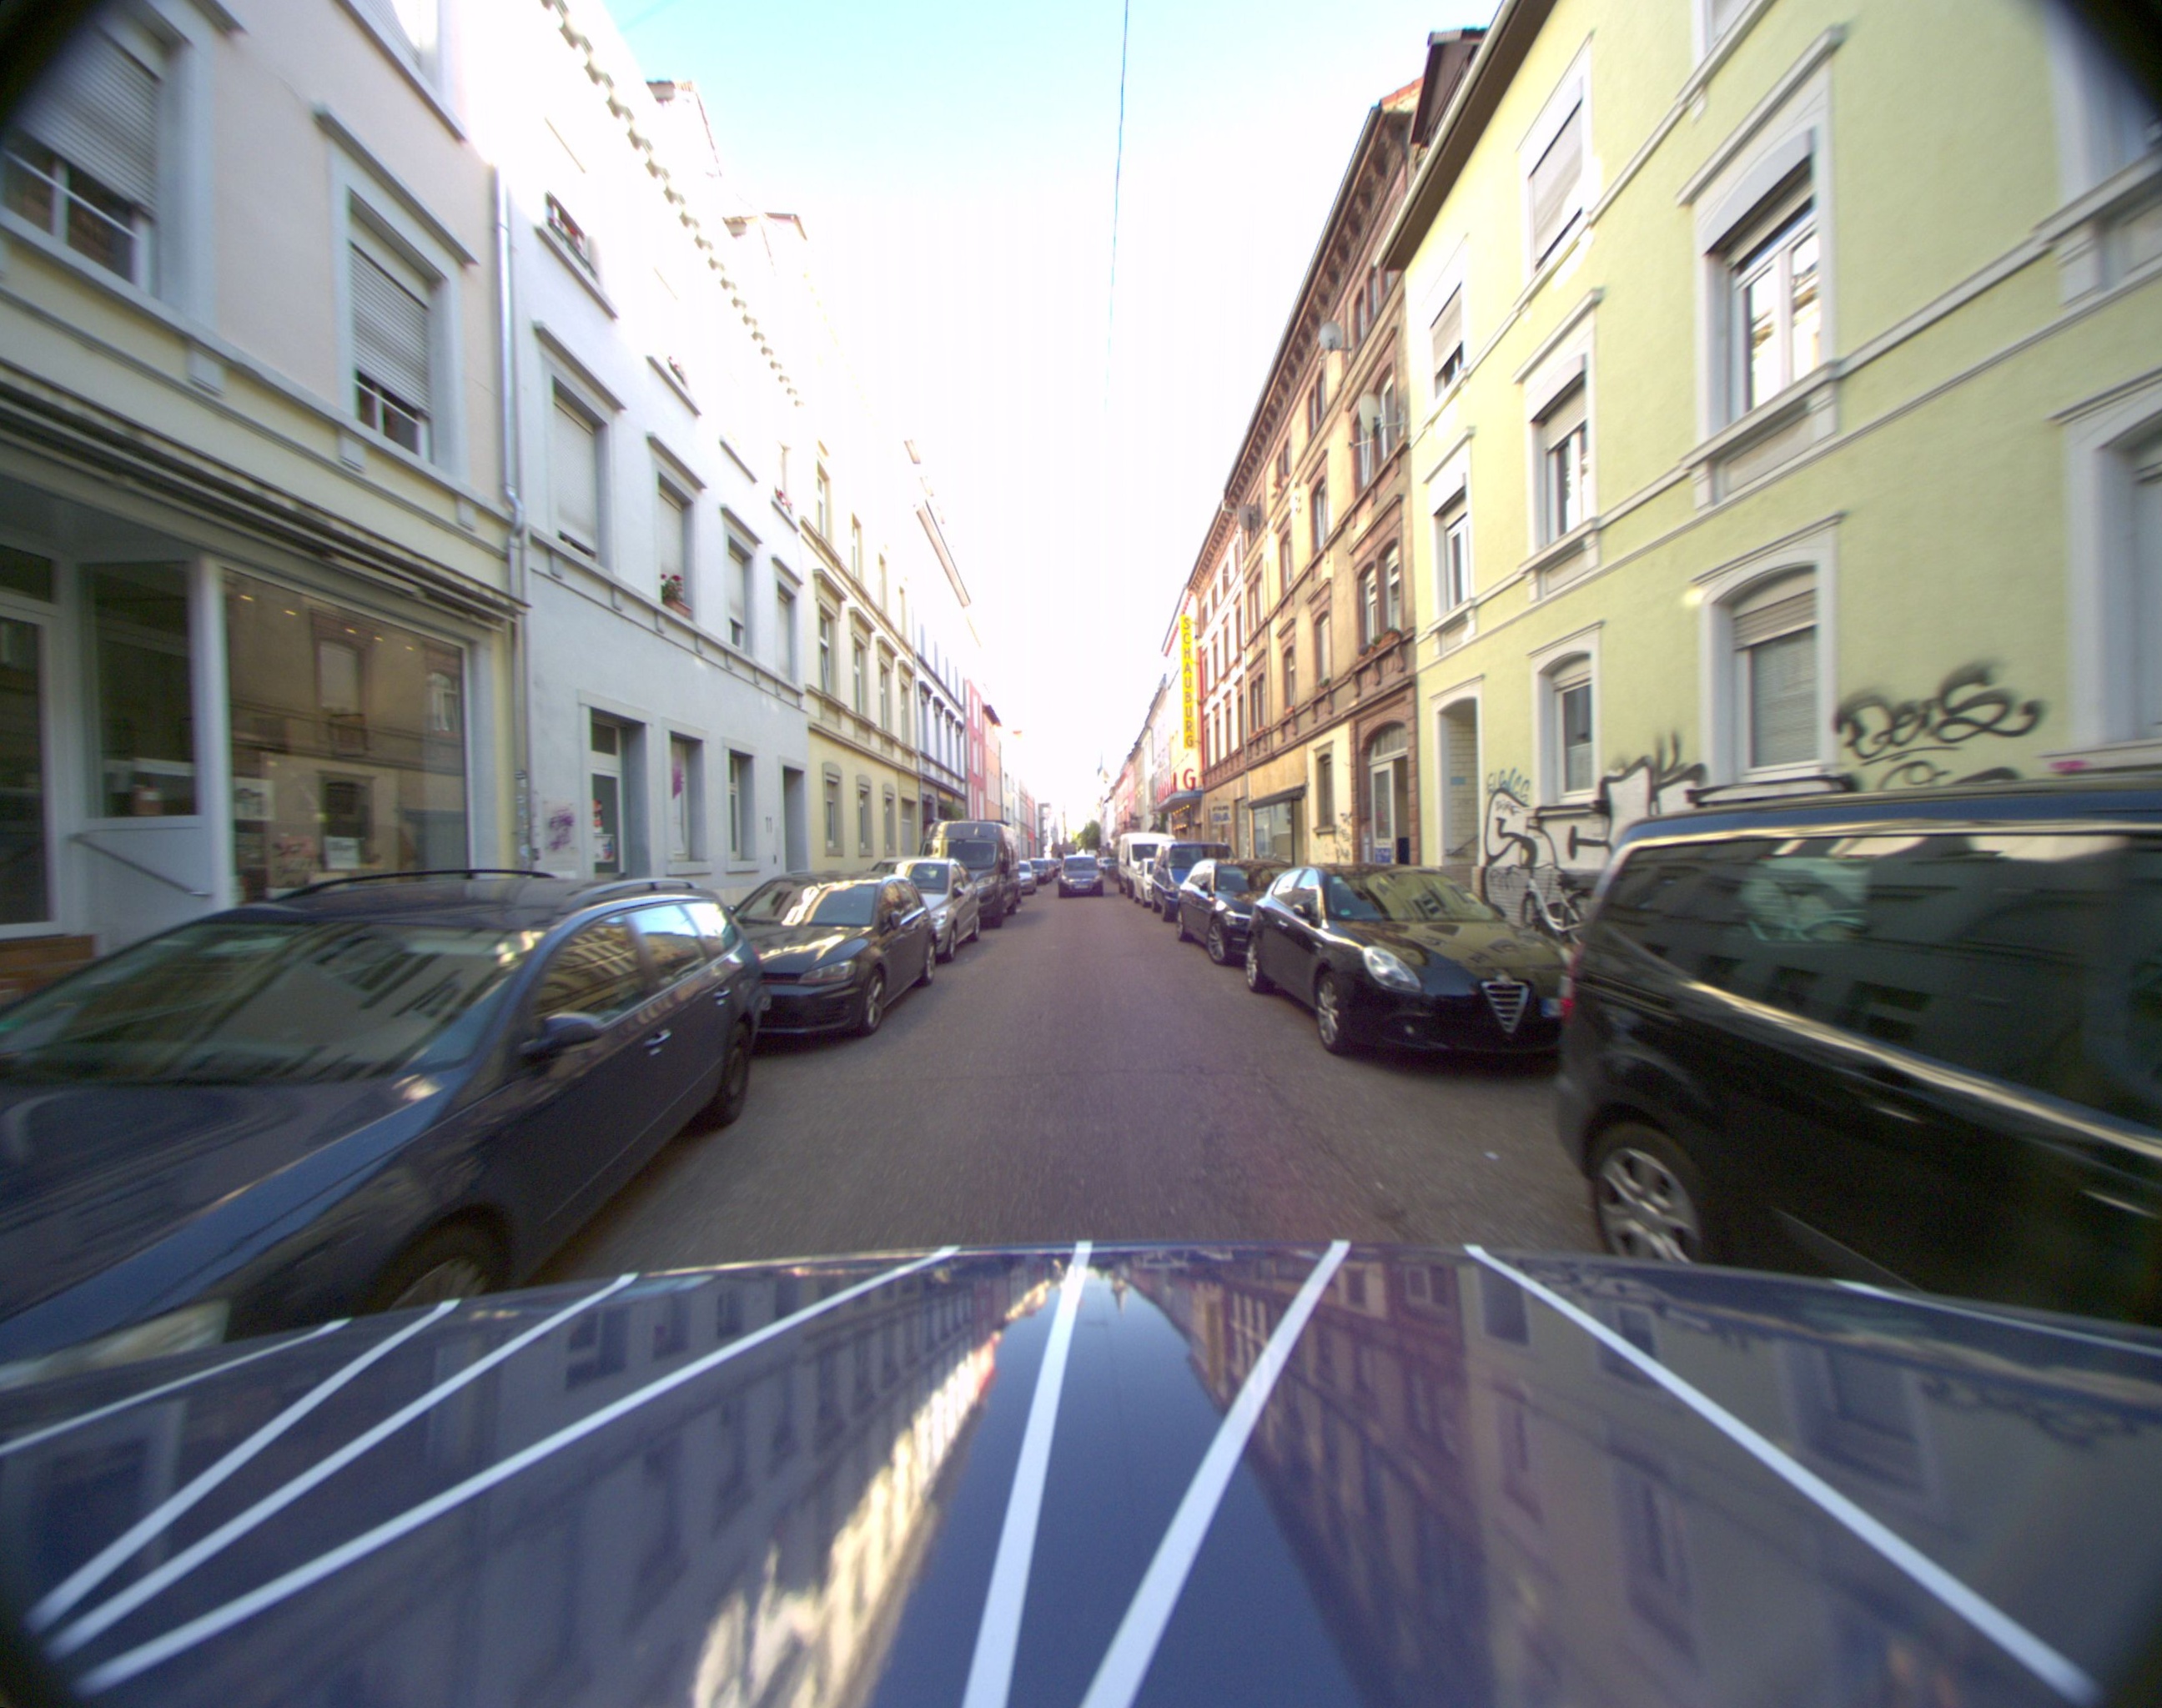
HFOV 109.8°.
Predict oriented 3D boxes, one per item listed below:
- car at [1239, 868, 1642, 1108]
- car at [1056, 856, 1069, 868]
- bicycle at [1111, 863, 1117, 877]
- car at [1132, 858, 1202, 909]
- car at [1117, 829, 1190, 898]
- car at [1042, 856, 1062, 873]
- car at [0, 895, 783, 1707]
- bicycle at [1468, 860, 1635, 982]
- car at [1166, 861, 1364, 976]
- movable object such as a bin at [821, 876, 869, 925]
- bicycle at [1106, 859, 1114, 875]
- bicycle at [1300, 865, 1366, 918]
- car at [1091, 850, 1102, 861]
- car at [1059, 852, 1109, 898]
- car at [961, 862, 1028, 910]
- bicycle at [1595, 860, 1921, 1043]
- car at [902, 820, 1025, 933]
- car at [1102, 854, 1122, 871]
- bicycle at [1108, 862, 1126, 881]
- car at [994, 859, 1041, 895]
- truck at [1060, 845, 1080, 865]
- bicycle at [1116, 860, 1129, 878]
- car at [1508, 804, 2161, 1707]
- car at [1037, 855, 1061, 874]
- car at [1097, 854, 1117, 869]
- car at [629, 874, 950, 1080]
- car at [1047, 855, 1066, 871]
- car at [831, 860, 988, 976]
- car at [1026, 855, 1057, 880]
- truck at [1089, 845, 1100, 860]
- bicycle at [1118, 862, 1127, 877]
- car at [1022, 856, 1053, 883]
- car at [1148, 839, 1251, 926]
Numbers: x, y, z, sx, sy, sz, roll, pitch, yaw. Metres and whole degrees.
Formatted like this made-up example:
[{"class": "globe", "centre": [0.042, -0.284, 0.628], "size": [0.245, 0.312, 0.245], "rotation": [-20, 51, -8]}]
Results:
[{"class": "car", "centre": [2.708, 0.895, 6.839], "size": [1.741, 1.418, 4.000], "rotation": [-1, 0, 0]}, {"class": "car", "centre": [-2.624, 1.128, 107.466], "size": [1.644, 1.528, 3.842], "rotation": [-2, 0, 0]}, {"class": "bicycle", "centre": [2.224, 1.083, 51.470], "size": [0.391, 0.911, 1.393], "rotation": [-1, 0, 1]}, {"class": "car", "centre": [2.606, 0.860, 23.823], "size": [1.650, 1.438, 3.839], "rotation": [-1, 0, -1]}, {"class": "car", "centre": [2.710, 0.327, 29.722], "size": [2.174, 2.437, 5.920], "rotation": [0, 0, -1]}, {"class": "car", "centre": [-2.500, 0.909, 66.433], "size": [1.692, 1.444, 4.193], "rotation": [0, 0, -1]}, {"class": "car", "centre": [-2.729, 1.028, 3.129], "size": [1.817, 1.469, 4.604], "rotation": [2, -1, -9]}, {"class": "bicycle", "centre": [5.532, 0.723, 9.117], "size": [0.675, 1.264, 2.086], "rotation": [-2, 0, 0]}, {"class": "car", "centre": [2.633, 0.855, 12.100], "size": [1.867, 1.431, 4.644], "rotation": [-1, 0, -2]}, {"class": "movable object such as a bin", "centre": [-5.355, 1.045, 17.299], "size": [0.865, 1.036, 0.708], "rotation": [2, 0, -2]}, {"class": "bicycle", "centre": [2.136, 0.950, 56.417], "size": [0.500, 1.099, 1.829], "rotation": [-2, 0, 0]}, {"class": "bicycle", "centre": [5.591, 0.797, 17.004], "size": [0.757, 1.015, 2.029], "rotation": [-5, 0, 1]}, {"class": "car", "centre": [3.078, 0.333, 150.208], "size": [1.998, 2.002, 4.258], "rotation": [-1, 0, 1]}, {"class": "car", "centre": [0.117, 0.764, 30.137], "size": [1.832, 1.650, 4.213], "rotation": [-1, 0, 0]}, {"class": "car", "centre": [-2.877, 1.031, 26.152], "size": [1.752, 1.436, 4.172], "rotation": [-2, 0, 0]}, {"class": "bicycle", "centre": [5.626, 0.710, 6.594], "size": [0.669, 1.238, 2.327], "rotation": [-4, 0, 0]}, {"class": "car", "centre": [-2.739, 0.470, 19.380], "size": [2.181, 2.411, 6.308], "rotation": [0, 0, 0]}, {"class": "car", "centre": [2.788, 0.731, 67.320], "size": [1.684, 1.446, 4.034], "rotation": [0, 0, 4]}, {"class": "bicycle", "centre": [2.098, 0.999, 44.308], "size": [0.462, 1.041, 1.748], "rotation": [-3, 0, -16]}, {"class": "car", "centre": [-2.796, 0.967, 34.320], "size": [1.791, 1.446, 4.546], "rotation": [1, 0, -1]}, {"class": "truck", "centre": [-1.606, 0.179, 116.652], "size": [2.819, 2.735, 7.677], "rotation": [-3, 0, 0]}, {"class": "bicycle", "centre": [2.626, 0.950, 47.837], "size": [0.547, 1.087, 1.881], "rotation": [-3, 0, -4]}, {"class": "car", "centre": [2.668, 0.776, 1.094], "size": [1.805, 1.688, 3.999], "rotation": [1, 0, 0]}, {"class": "car", "centre": [-2.591, 0.850, 61.855], "size": [1.701, 1.514, 3.980], "rotation": [0, 0, 1]}, {"class": "car", "centre": [2.645, 0.726, 77.827], "size": [1.792, 1.454, 4.199], "rotation": [-1, 0, -1]}, {"class": "car", "centre": [-2.653, 1.023, 8.091], "size": [1.750, 1.477, 4.242], "rotation": [-1, 0, 0]}, {"class": "car", "centre": [-2.452, 0.859, 77.475], "size": [1.766, 1.513, 4.380], "rotation": [-2, 0, 0]}, {"class": "car", "centre": [-2.705, 0.932, 12.992], "size": [1.698, 1.598, 4.374], "rotation": [0, 0, 0]}, {"class": "car", "centre": [-2.651, 0.882, 51.398], "size": [1.750, 1.547, 4.171], "rotation": [-1, 0, 1]}, {"class": "truck", "centre": [3.134, -0.316, 178.849], "size": [2.524, 3.271, 6.642], "rotation": [-2, 0, 1]}, {"class": "bicycle", "centre": [2.833, 1.044, 51.818], "size": [0.555, 0.938, 1.571], "rotation": [-1, 0, 1]}, {"class": "car", "centre": [-2.628, 0.928, 46.585], "size": [1.606, 1.530, 3.450], "rotation": [1, 0, 1]}, {"class": "car", "centre": [2.790, 0.624, 18.948], "size": [1.832, 1.881, 4.613], "rotation": [1, 0, 0]}]
